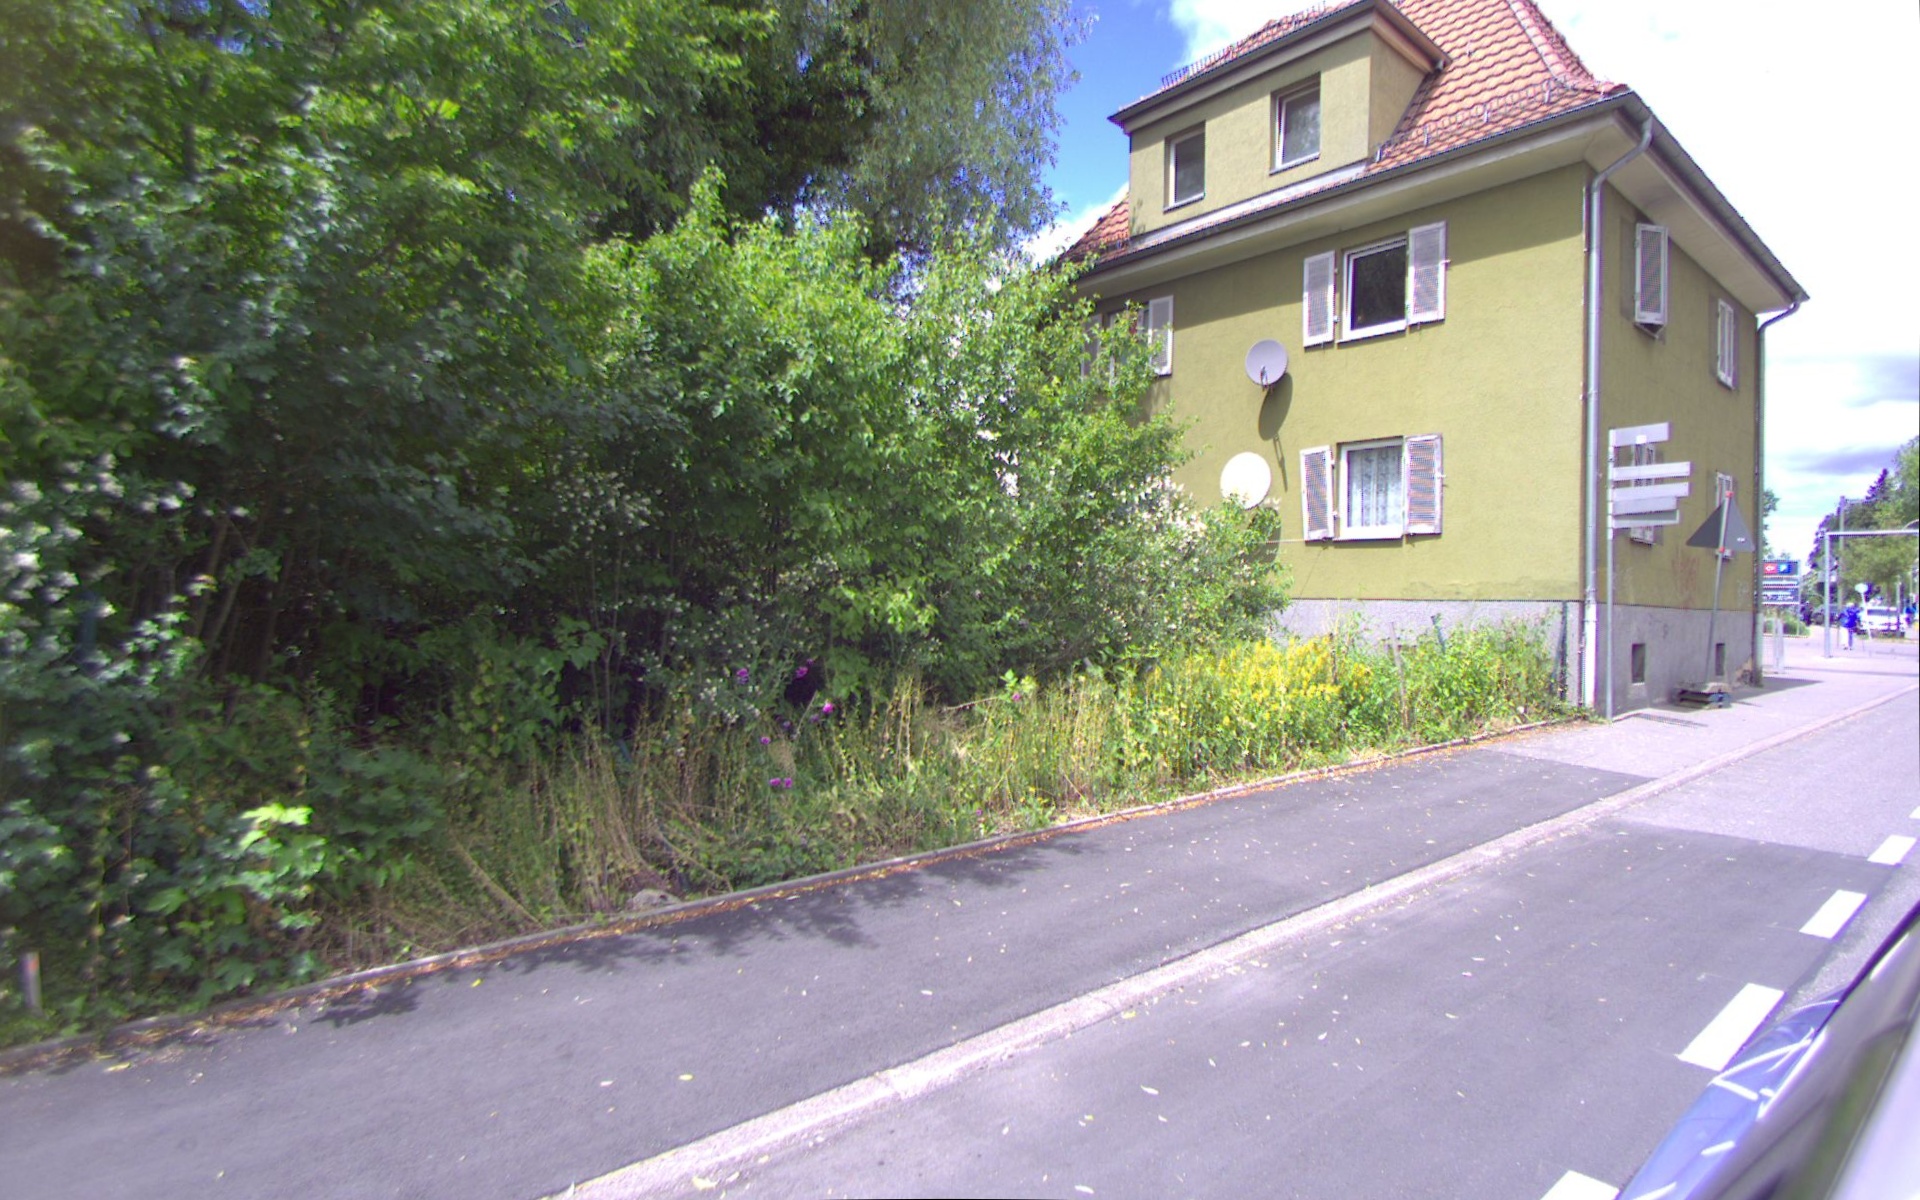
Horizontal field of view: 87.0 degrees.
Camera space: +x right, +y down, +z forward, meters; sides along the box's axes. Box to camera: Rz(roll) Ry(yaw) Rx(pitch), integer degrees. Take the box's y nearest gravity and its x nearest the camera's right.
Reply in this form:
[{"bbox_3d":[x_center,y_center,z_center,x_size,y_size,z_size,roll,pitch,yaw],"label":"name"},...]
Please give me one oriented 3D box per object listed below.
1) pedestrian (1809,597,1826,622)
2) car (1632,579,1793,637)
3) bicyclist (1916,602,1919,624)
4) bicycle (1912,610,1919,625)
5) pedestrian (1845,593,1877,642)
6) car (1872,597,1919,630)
[{"bbox_3d":[56.977,0.632,67.250,0.765,1.683,0.721,1,-3,-45],"label":"pedestrian"},{"bbox_3d":[27.877,0.227,37.622,1.961,2.019,4.374,0,1,-32],"label":"car"},{"bbox_3d":[70.963,0.920,74.344,0.797,1.629,0.767,-1,-2,19],"label":"bicyclist"},{"bbox_3d":[70.969,1.282,74.349,0.803,1.122,1.789,-1,-1,18],"label":"bicycle"},{"bbox_3d":[29.572,0.578,33.217,0.726,1.572,1.042,1,0,39],"label":"pedestrian"},{"bbox_3d":[47.674,0.656,51.274,3.931,1.529,1.797,0,1,-42],"label":"car"}]
